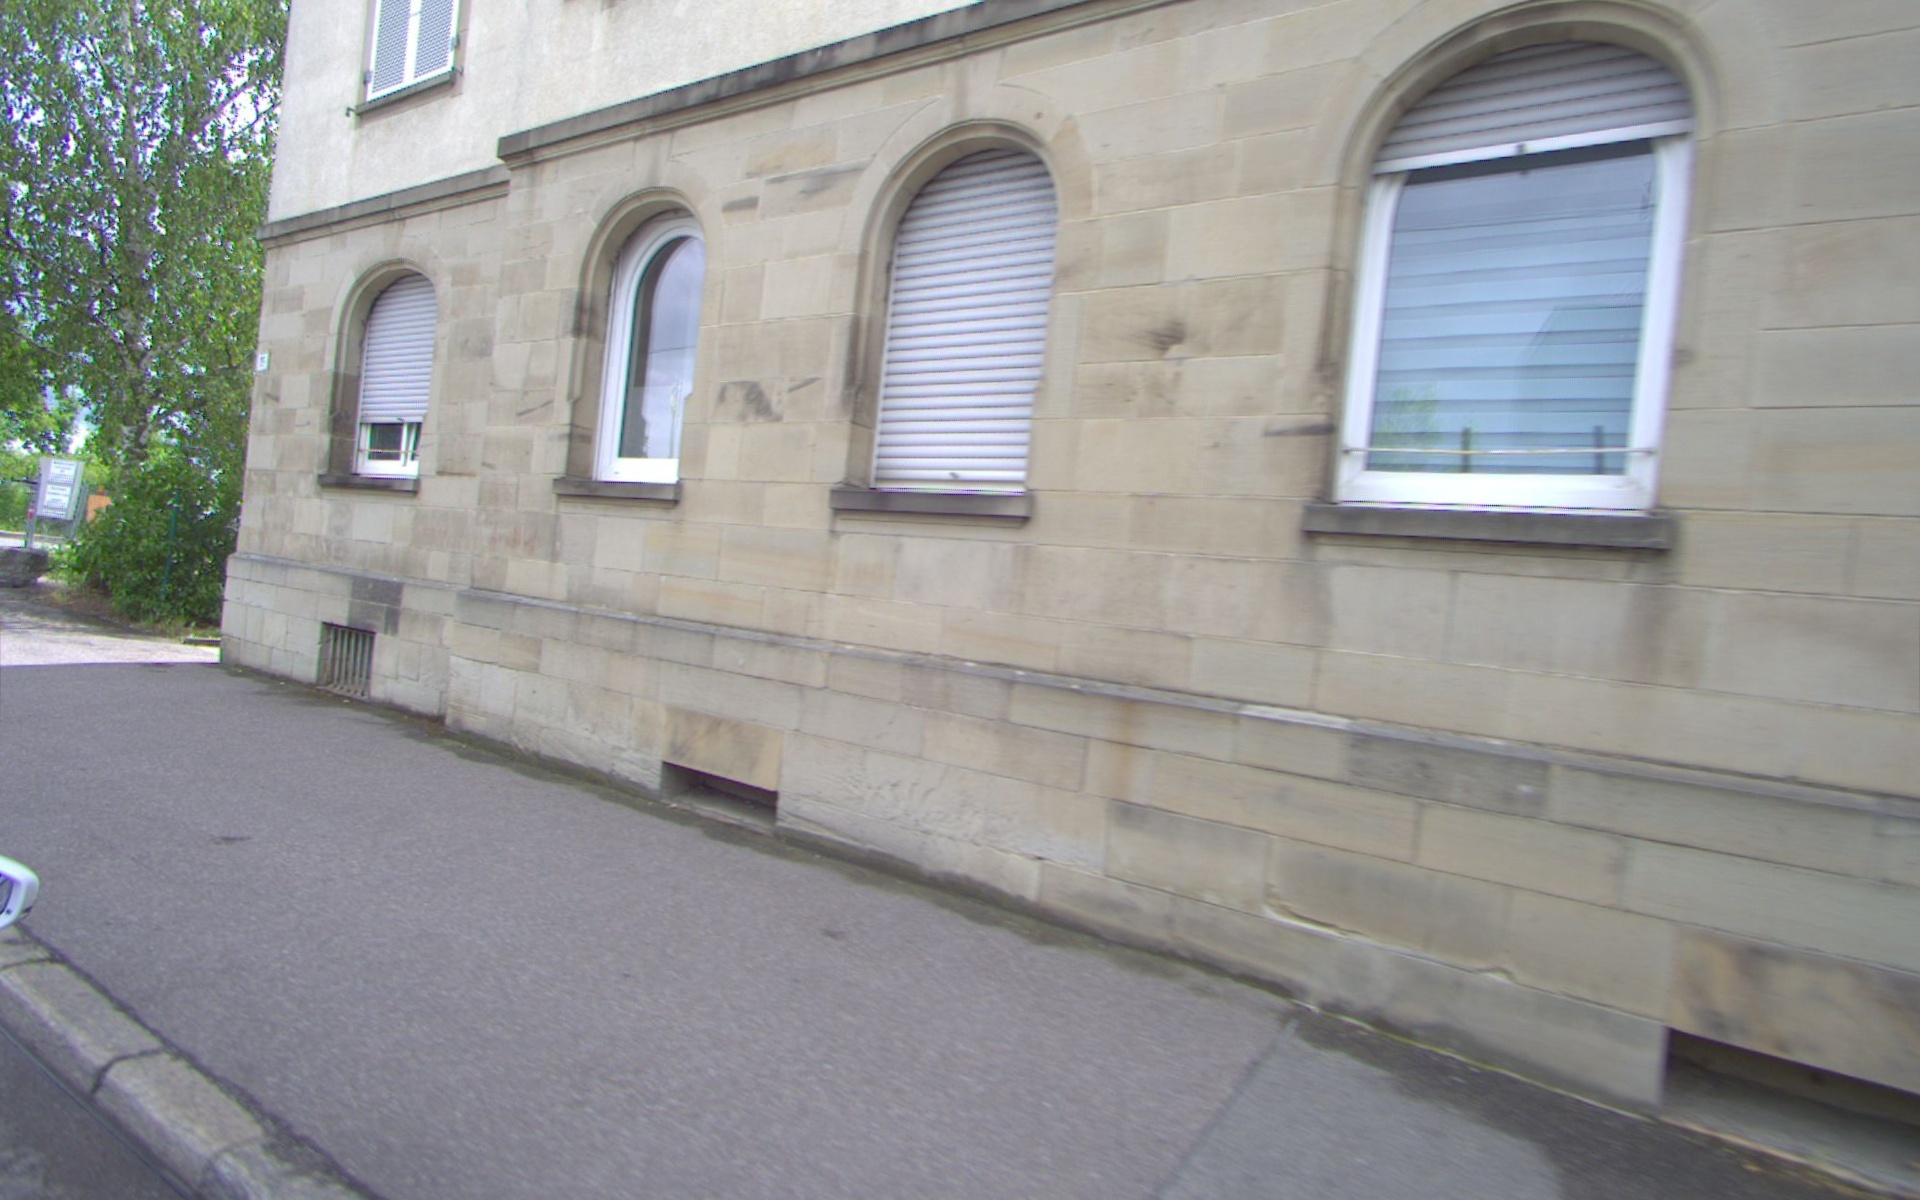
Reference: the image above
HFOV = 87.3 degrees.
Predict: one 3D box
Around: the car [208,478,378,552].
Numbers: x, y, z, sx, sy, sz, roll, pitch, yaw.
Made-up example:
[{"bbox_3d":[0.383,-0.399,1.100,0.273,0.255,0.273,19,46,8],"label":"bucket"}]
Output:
[{"bbox_3d":[-20.950,-2.630,31.758,1.749,1.501,3.993,5,-5,36],"label":"car"}]
